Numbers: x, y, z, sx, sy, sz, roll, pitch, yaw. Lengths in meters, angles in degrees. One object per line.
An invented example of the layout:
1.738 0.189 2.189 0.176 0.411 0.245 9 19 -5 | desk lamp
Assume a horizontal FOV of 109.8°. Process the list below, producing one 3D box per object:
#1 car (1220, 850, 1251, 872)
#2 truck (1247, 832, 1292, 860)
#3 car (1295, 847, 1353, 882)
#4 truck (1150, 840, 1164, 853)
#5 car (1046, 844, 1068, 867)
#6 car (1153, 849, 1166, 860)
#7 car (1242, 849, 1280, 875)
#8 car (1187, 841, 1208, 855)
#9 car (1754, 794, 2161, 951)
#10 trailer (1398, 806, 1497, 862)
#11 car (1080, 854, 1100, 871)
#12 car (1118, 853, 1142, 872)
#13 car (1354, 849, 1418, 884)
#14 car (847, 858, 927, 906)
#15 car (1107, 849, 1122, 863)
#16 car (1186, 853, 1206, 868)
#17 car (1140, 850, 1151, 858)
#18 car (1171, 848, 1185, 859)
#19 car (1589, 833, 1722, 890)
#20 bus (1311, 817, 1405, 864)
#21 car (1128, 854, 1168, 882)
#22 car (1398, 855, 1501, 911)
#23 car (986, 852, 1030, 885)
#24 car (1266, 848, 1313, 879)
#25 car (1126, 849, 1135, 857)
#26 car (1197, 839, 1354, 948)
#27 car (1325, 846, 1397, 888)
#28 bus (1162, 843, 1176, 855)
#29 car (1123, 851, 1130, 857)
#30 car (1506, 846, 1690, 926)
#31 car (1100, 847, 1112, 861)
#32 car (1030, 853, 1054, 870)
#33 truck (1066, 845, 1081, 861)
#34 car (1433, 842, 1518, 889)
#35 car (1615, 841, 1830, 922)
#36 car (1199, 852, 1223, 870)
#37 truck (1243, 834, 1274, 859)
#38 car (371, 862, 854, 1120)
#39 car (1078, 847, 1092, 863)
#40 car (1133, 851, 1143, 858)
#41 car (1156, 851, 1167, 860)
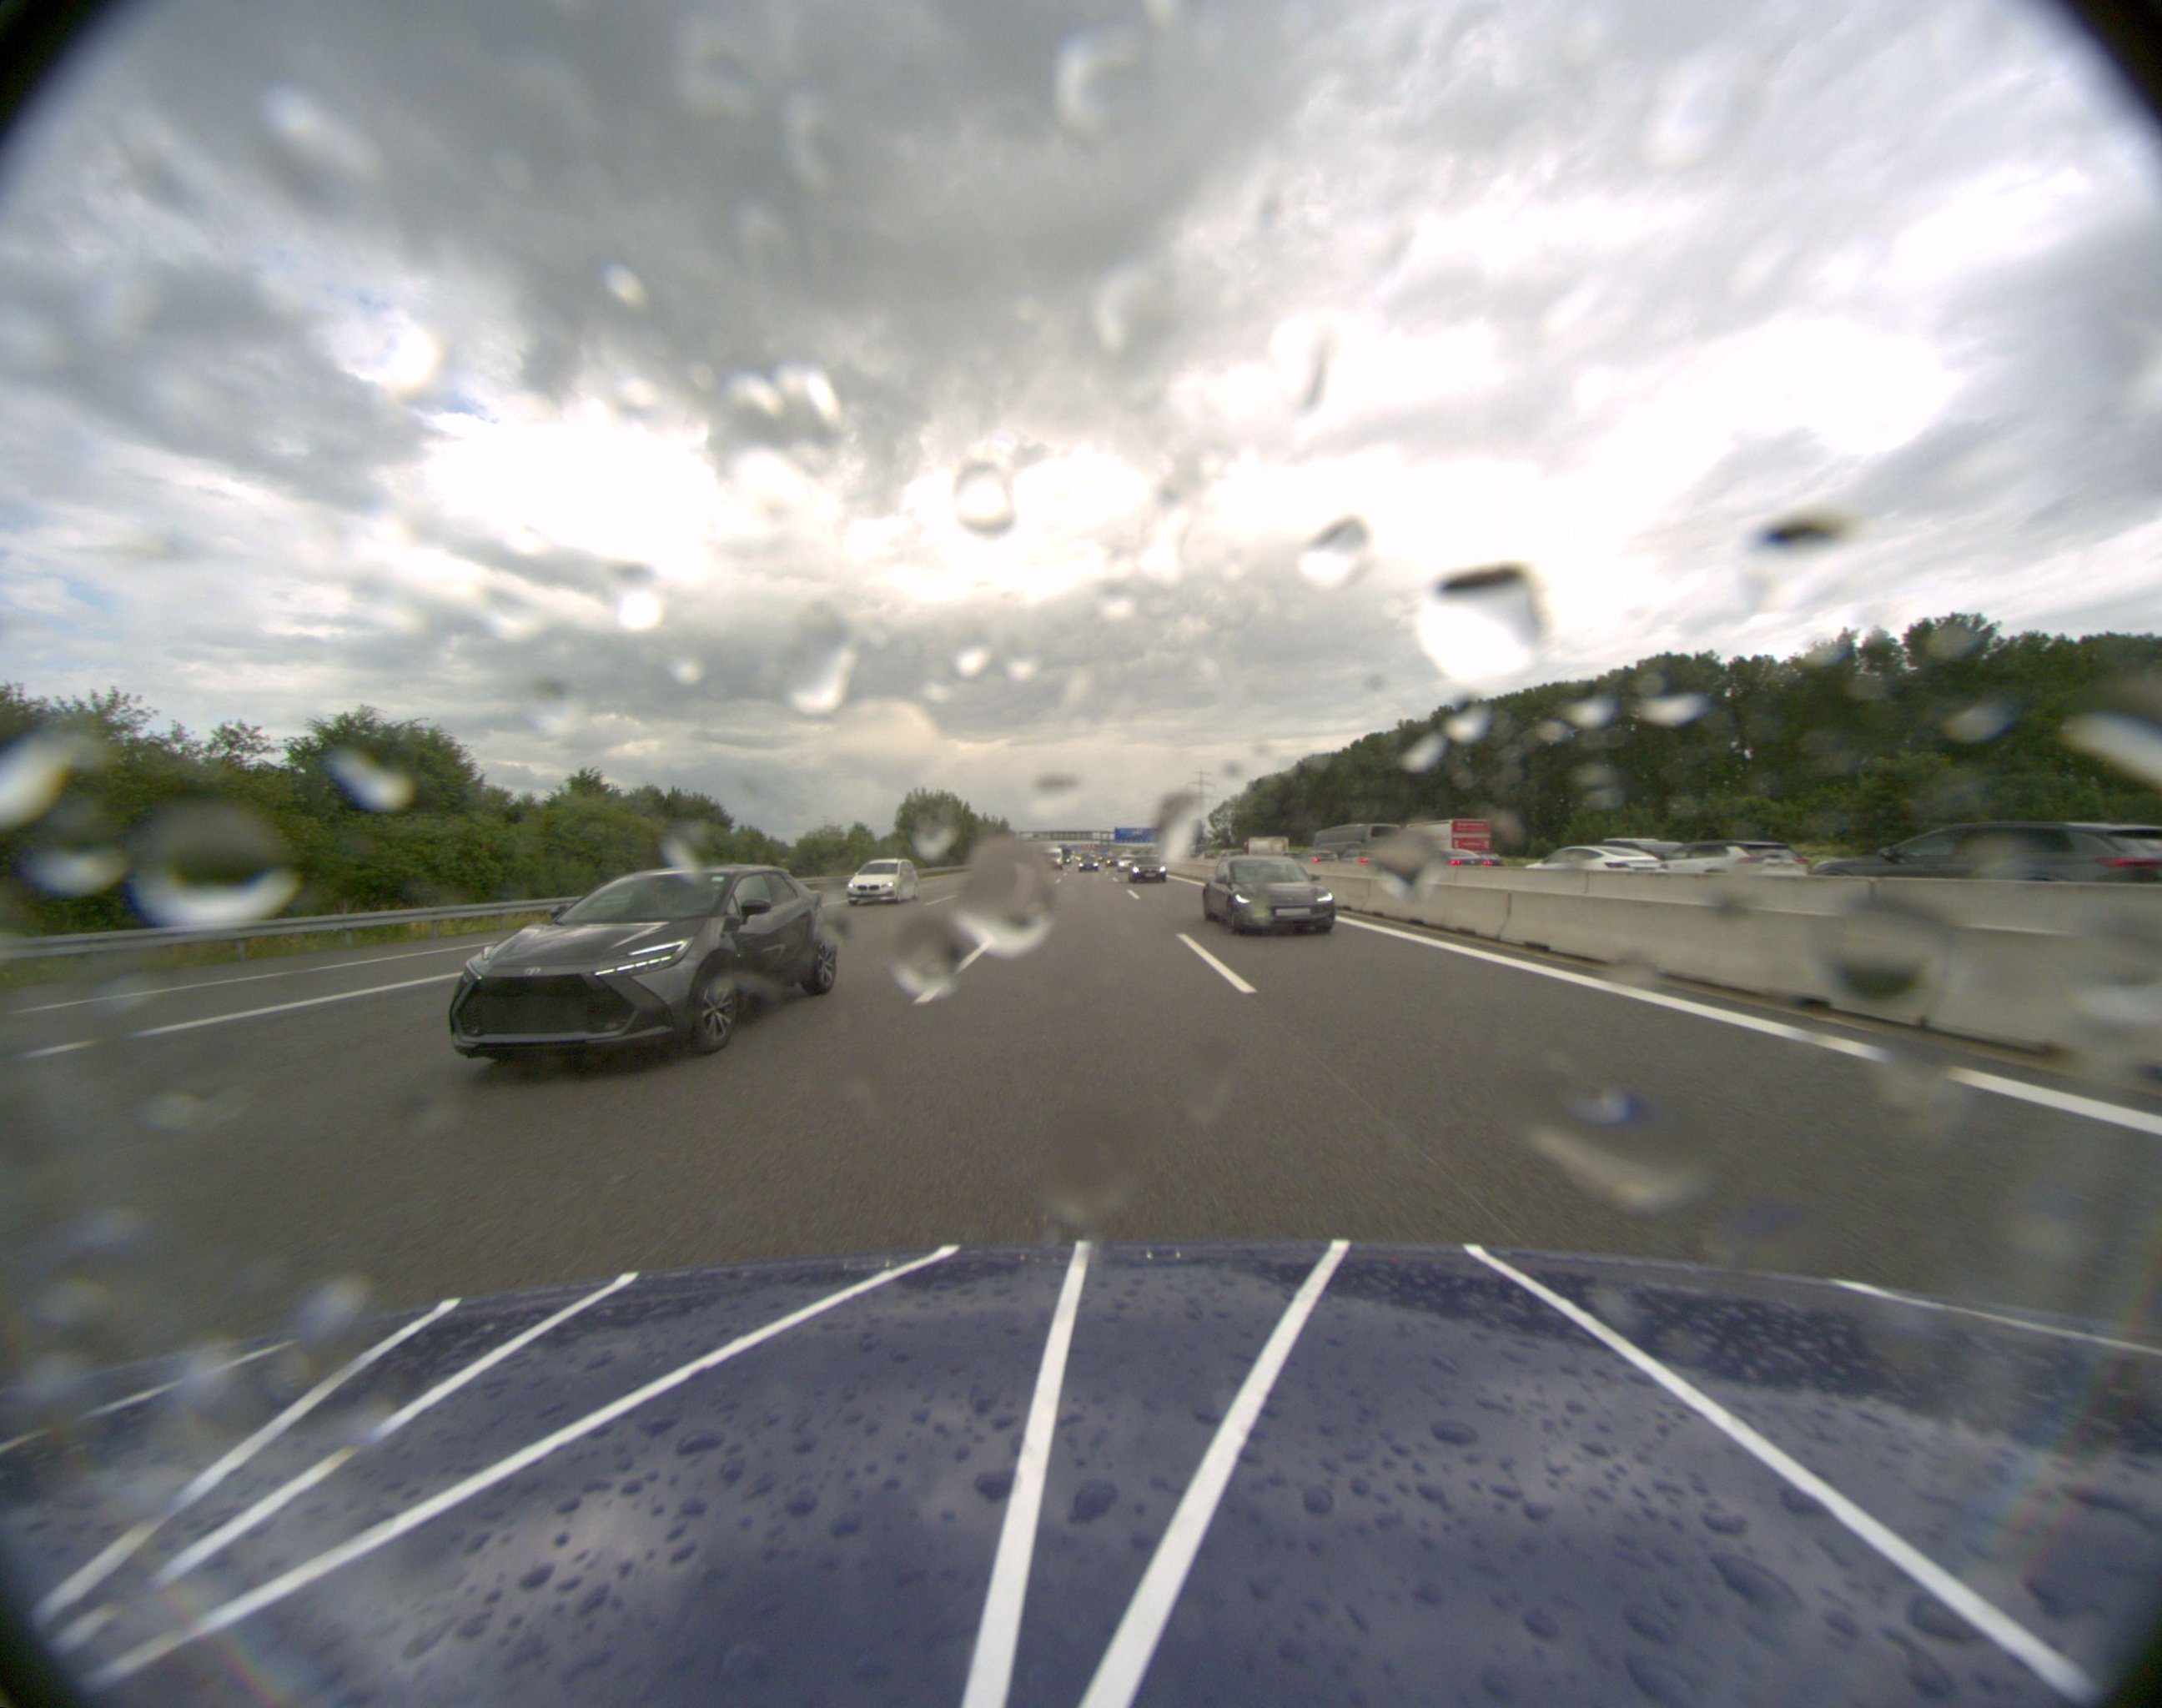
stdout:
14.635 0.615 72.199 1.998 1.956 4.696 -2 0 1 | car
26.741 -1.123 108.715 3.156 3.723 13.298 -2 0 0 | truck
14.429 0.584 45.466 1.998 1.956 4.696 -2 0 1 | car
25.960 -2.500 259.011 3.156 4.288 13.949 -2 0 0 | truck
-2.615 0.165 84.767 2.145 2.486 5.448 -2 0 1 | car
15.085 0.061 146.597 1.999 2.002 4.264 -2 0 0 | car
14.509 0.619 61.504 1.998 1.956 4.696 -2 0 1 | car
18.520 -0.894 121.003 2.265 2.152 6.817 -2 0 1 | car
14.382 0.207 12.422 1.998 2.002 5.418 -2 0 1 | car
26.492 -1.368 55.554 2.867 3.740 9.160 -1 0 1 | trailer
0.899 0.790 72.554 1.711 1.562 4.347 -2 0 2 | car
4.341 0.761 67.936 1.822 1.565 4.000 -2 0 0 | car
18.439 0.717 46.137 1.998 1.956 4.696 -2 0 1 | car
-7.236 0.976 28.834 1.815 1.589 4.695 -2 0 0 | car
4.136 0.216 93.656 1.711 1.621 4.000 -2 0 2 | car
15.416 0.810 101.770 1.998 1.956 4.696 -2 0 1 | car
15.610 -0.030 184.150 1.999 2.002 5.181 -2 0 -1 | car
15.484 -0.112 121.413 1.808 1.709 4.000 -2 0 1 | car
22.050 0.270 29.376 2.122 2.002 4.000 -2 0 1 | car
22.337 -1.020 62.380 2.694 3.365 13.997 -2 0 1 | bus
3.519 0.705 40.626 1.922 1.407 4.001 -1 0 2 | car
14.567 1.086 30.338 1.998 2.002 4.349 -2 0 1 | car
-3.819 0.746 40.526 1.711 1.621 4.457 -2 0 2 | car
14.463 0.628 52.948 1.998 1.956 4.696 -2 0 1 | car
14.334 -0.293 219.821 1.998 2.002 4.763 -2 0 0 | car
3.708 0.667 15.538 1.998 1.810 5.163 -2 0 2 | car
14.517 0.617 39.687 1.998 2.002 4.696 -2 0 1 | car
25.337 -1.555 219.115 2.838 3.313 9.963 -2 0 1 | bus
14.157 -0.101 236.882 1.999 1.842 5.077 -1 0 0 | car
14.687 0.815 22.029 1.998 2.002 4.972 -2 0 1 | car
4.615 -0.002 139.270 2.145 2.486 5.448 -2 0 3 | car
-3.480 0.636 68.593 1.945 1.482 4.774 -2 0 -1 | car
-1.349 -0.236 133.637 2.391 2.726 6.592 -2 0 -2 | truck
18.222 0.506 35.295 1.998 2.002 3.711 -2 0 1 | car
18.123 0.691 21.878 1.998 2.002 4.972 -2 0 1 | car
14.591 0.769 85.562 1.998 1.956 4.696 -2 0 1 | car
26.785 -1.119 115.065 3.158 3.690 6.318 -2 0 1 | truck
-3.791 0.935 7.342 1.785 1.603 4.597 -2 0 0 | car
0.642 0.127 126.347 2.145 2.486 5.448 -2 0 2 | car
14.782 0.052 197.960 1.999 1.844 4.635 -2 0 -2 | car
18.311 0.391 173.003 1.854 2.002 4.536 -2 0 -1 | car
